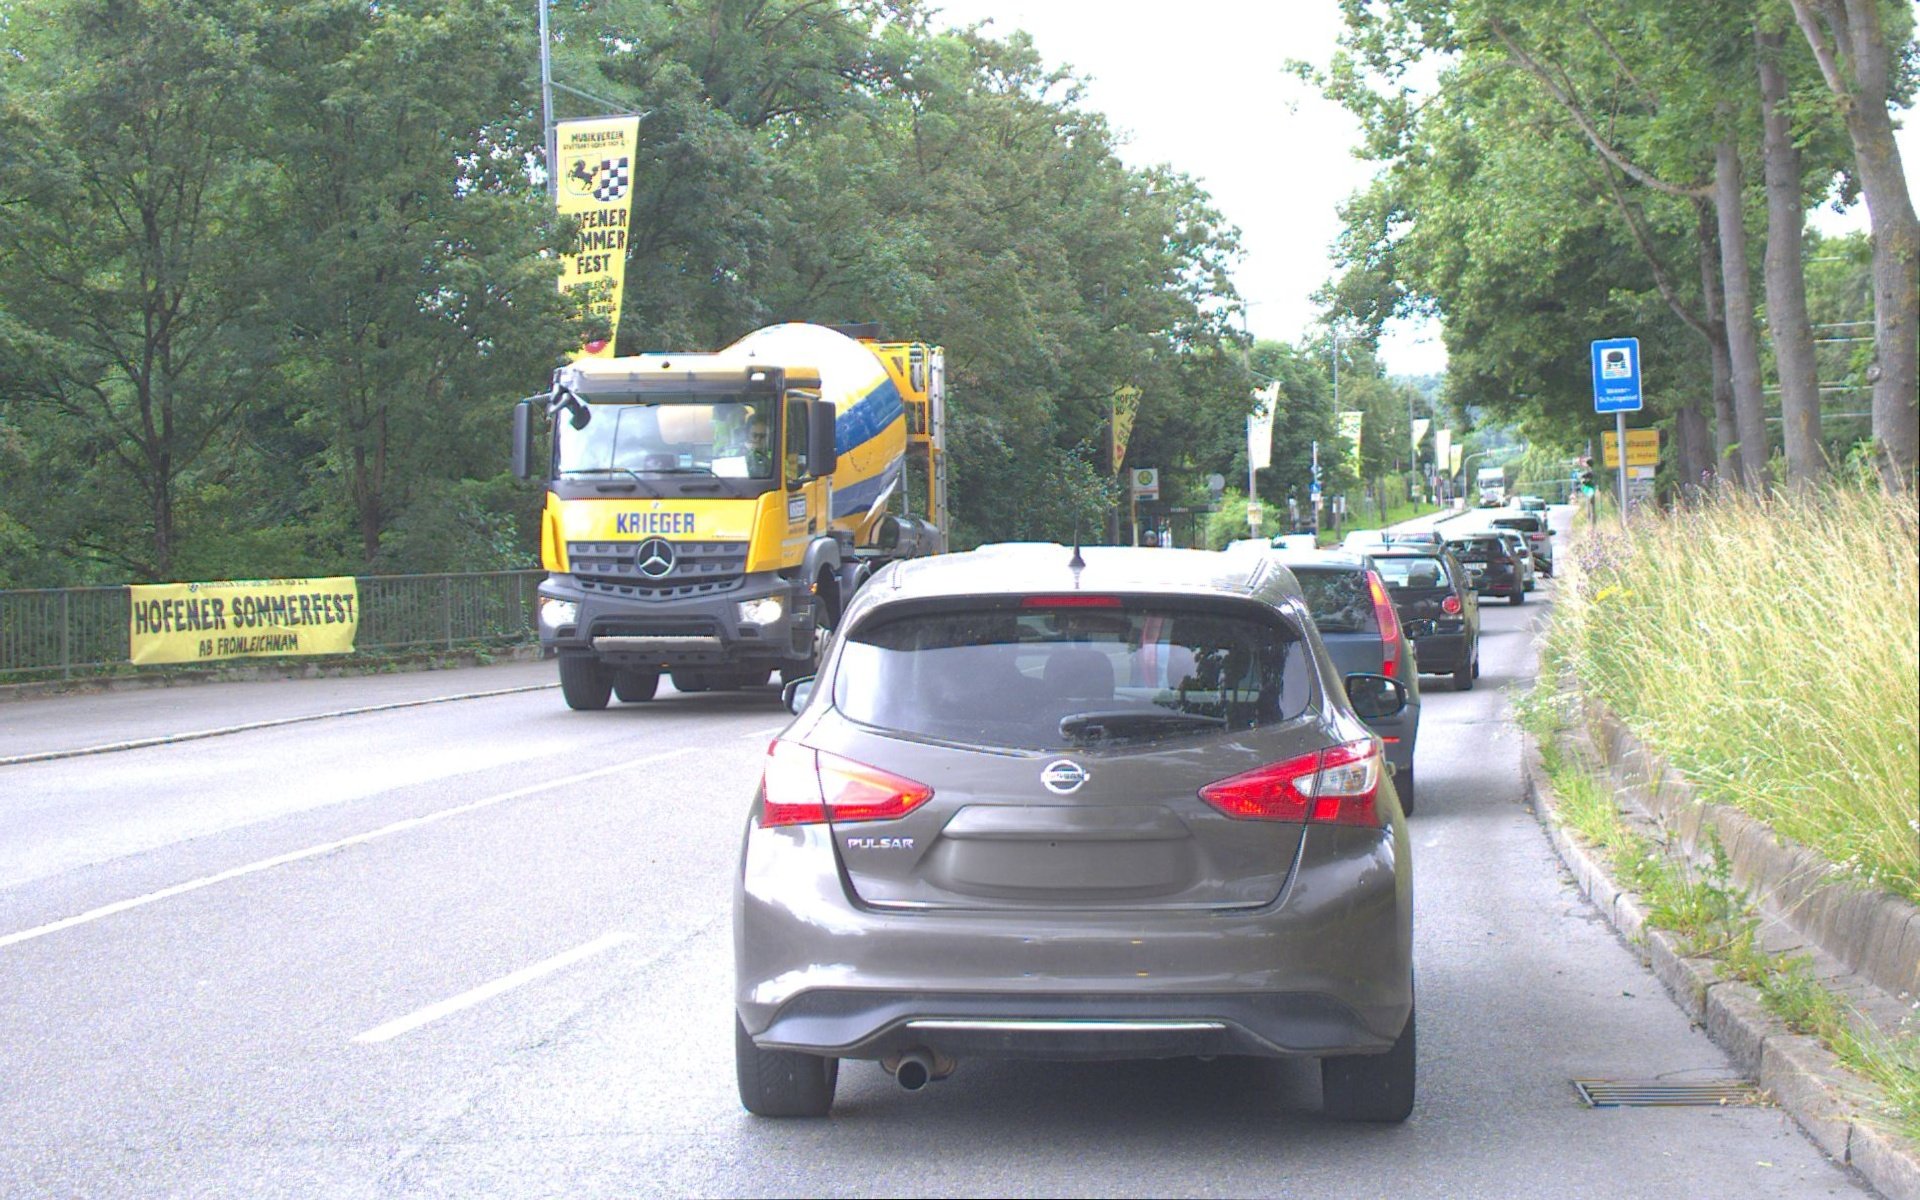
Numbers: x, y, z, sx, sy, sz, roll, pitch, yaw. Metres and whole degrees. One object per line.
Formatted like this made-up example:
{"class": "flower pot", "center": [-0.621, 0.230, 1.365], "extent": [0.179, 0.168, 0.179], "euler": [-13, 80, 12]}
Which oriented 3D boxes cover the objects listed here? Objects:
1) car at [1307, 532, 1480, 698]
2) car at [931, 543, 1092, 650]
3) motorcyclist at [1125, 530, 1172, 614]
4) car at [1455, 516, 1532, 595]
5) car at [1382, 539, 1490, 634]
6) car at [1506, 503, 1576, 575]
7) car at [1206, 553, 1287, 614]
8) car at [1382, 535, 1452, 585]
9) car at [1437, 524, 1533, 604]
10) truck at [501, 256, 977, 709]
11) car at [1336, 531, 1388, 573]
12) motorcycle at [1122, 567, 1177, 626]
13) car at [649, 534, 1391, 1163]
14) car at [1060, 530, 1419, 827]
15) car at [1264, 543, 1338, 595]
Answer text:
{"class": "car", "center": [4.345, 0.133, 34.723], "extent": [1.578, 1.533, 3.999], "euler": [-2, 0, 6]}
{"class": "car", "center": [0.799, -0.079, 50.366], "extent": [1.767, 1.474, 3.999], "euler": [-1, 1, 9]}
{"class": "motorcyclist", "center": [3.477, -0.516, 63.432], "extent": [0.745, 1.533, 0.790], "euler": [-1, 1, 11]}
{"class": "car", "center": [12.737, -1.035, 81.970], "extent": [1.719, 1.687, 3.998], "euler": [-2, -1, 9]}
{"class": "car", "center": [7.349, -0.216, 52.904], "extent": [1.501, 1.360, 3.586], "euler": [-2, 0, 10]}
{"class": "car", "center": [16.873, -1.763, 99.716], "extent": [1.891, 2.007, 3.998], "euler": [-1, 1, 11]}
{"class": "car", "center": [7.458, -0.411, 89.216], "extent": [1.722, 1.437, 3.998], "euler": [-2, -1, 10]}
{"class": "car", "center": [14.398, -1.243, 108.131], "extent": [1.852, 1.481, 4.418], "euler": [-1, 0, 11]}
{"class": "car", "center": [10.539, -0.705, 68.838], "extent": [1.805, 1.535, 3.998], "euler": [0, 0, 10]}
{"class": "truck", "center": [-1.922, -1.091, 35.041], "extent": [2.656, 3.925, 10.107], "euler": [0, 1, 9]}
{"class": "car", "center": [15.106, -1.793, 129.054], "extent": [1.753, 1.415, 3.998], "euler": [-2, -1, 9]}
{"class": "motorcycle", "center": [3.504, -0.075, 63.439], "extent": [0.745, 1.030, 1.887], "euler": [-1, 1, 12]}
{"class": "car", "center": [0.297, 0.597, 10.225], "extent": [1.775, 1.489, 3.999], "euler": [0, 0, 5]}
{"class": "car", "center": [1.602, 0.429, 20.350], "extent": [1.893, 1.569, 3.999], "euler": [-1, 0, 3]}
{"class": "car", "center": [10.195, -0.948, 102.660], "extent": [1.818, 1.457, 3.998], "euler": [-2, 1, 10]}
